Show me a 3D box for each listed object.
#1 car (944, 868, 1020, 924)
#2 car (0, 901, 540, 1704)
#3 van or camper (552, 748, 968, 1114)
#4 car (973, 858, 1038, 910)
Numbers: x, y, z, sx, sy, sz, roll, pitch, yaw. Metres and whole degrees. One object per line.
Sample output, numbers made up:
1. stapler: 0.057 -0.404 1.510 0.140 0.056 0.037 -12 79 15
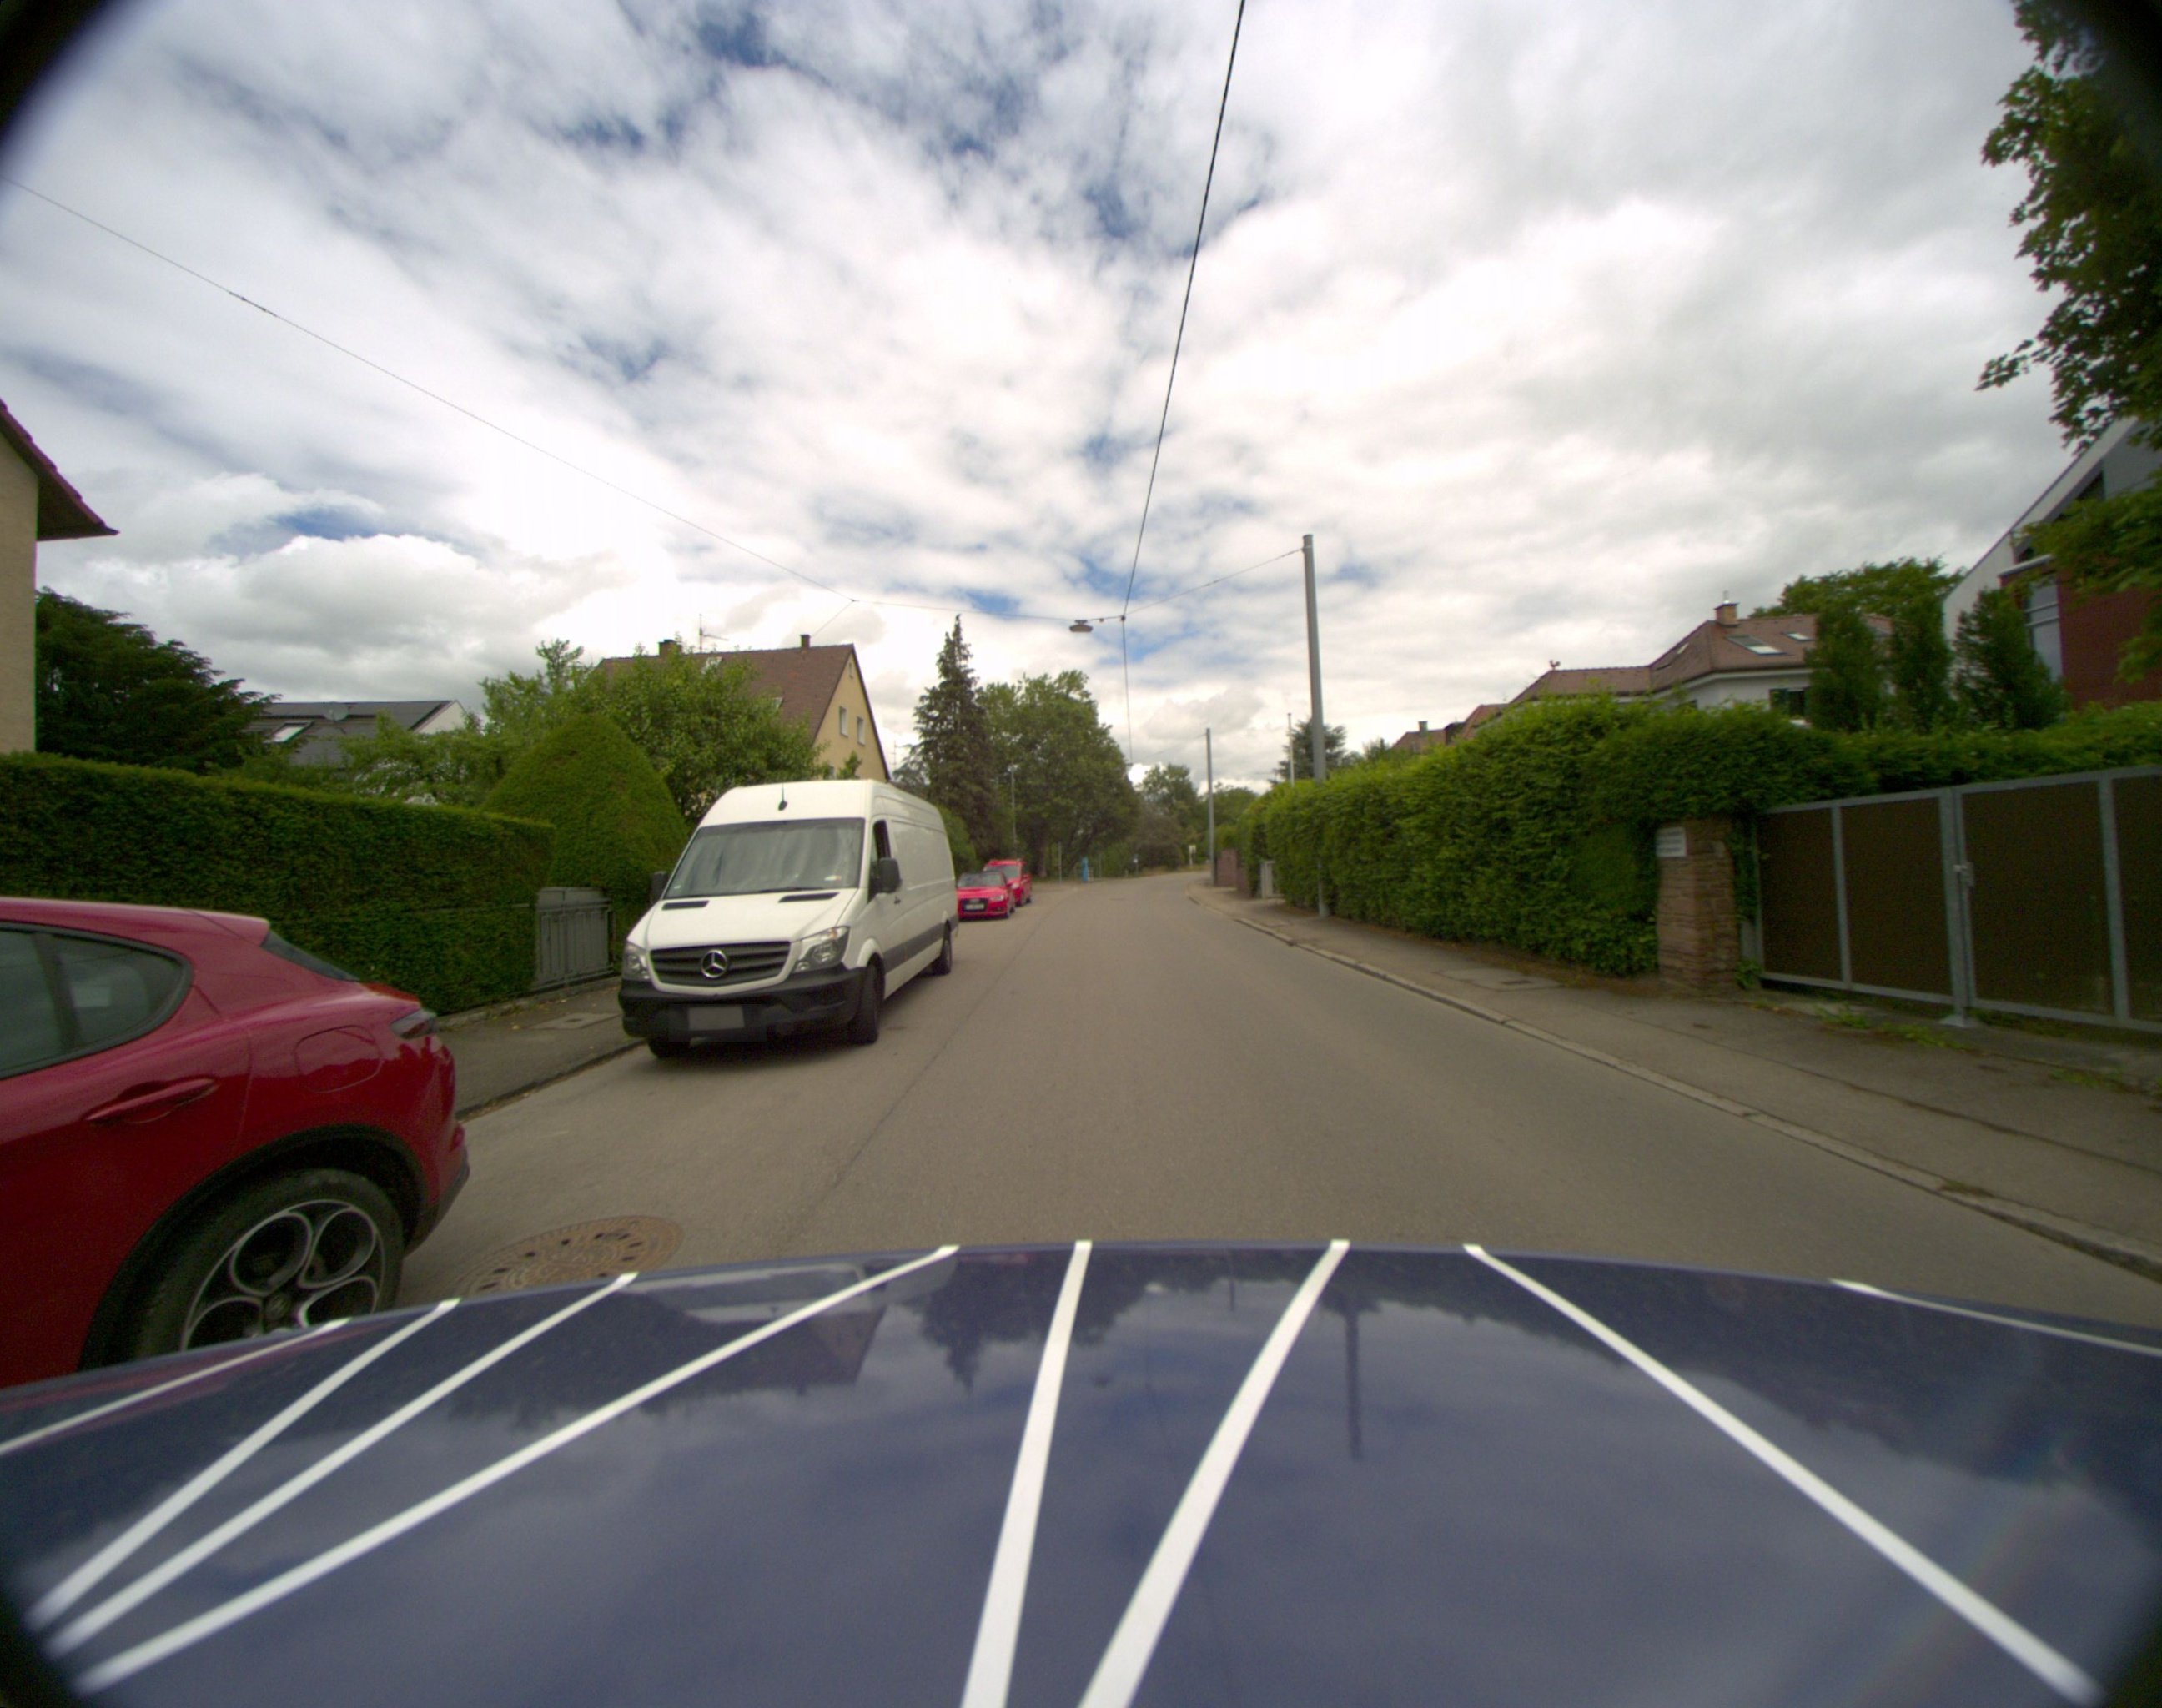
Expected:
1. car: -2.929 1.215 23.357 1.704 1.421 4.395 -3 0 0
2. car: -3.202 0.970 0.719 1.893 1.572 4.766 -1 0 1
3. van or camper: -2.900 0.594 9.171 2.046 2.604 7.038 -3 0 -1
4. car: -2.797 1.094 29.077 1.771 1.755 4.163 -3 0 3
